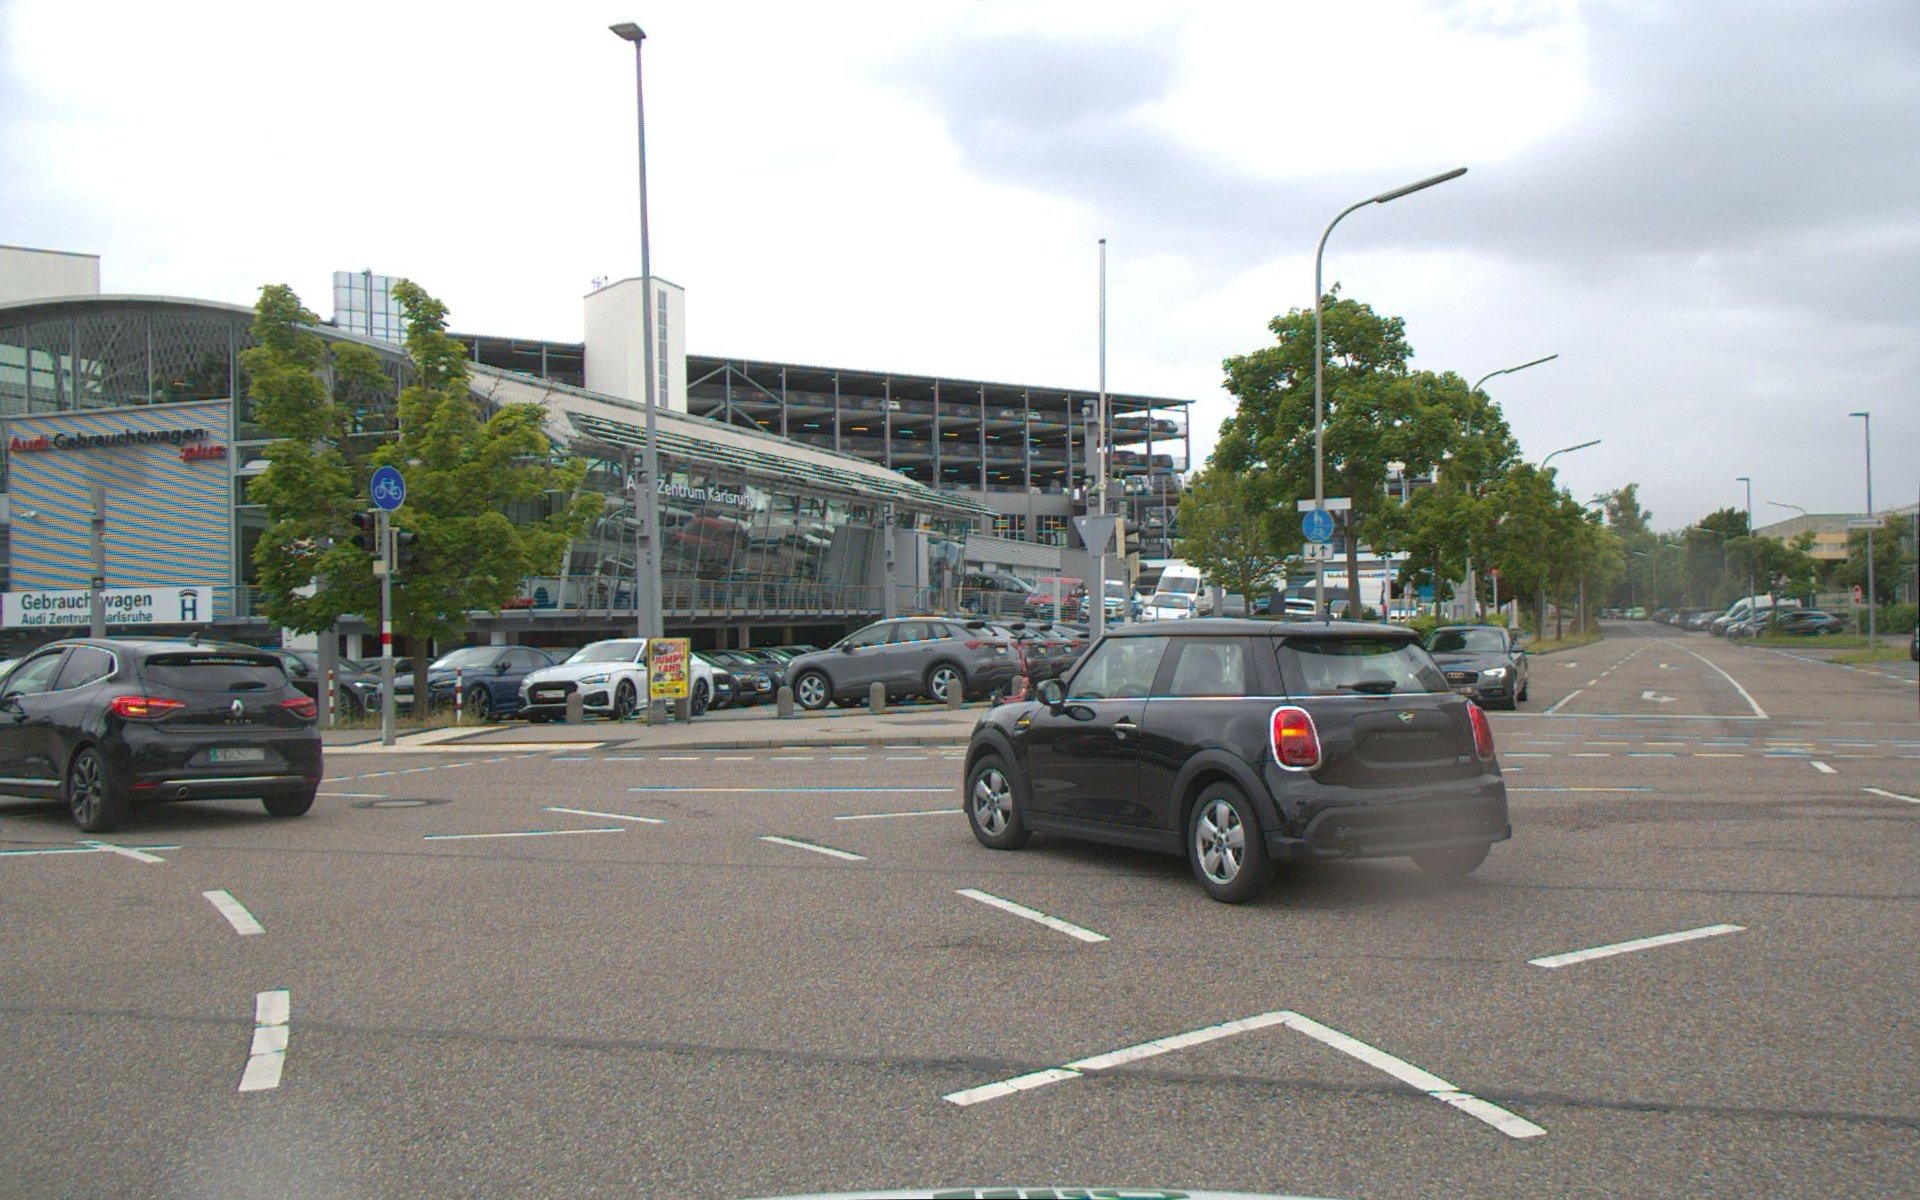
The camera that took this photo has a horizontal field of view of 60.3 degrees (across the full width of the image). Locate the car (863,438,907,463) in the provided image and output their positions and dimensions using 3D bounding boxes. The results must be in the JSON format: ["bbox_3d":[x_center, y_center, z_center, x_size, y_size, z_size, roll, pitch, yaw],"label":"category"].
[{"bbox_3d":[-6.537,-13.010,143.855,1.978,1.697,3.949,0,-1,-36],"label":"car"}]

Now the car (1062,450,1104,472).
[{"bbox_3d":[11.684,-13.250,157.716,1.978,1.697,3.949,0,-1,-36],"label":"car"}]

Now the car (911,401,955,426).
[{"bbox_3d":[-2.409,-16.545,146.997,1.978,1.697,3.949,0,-1,-36],"label":"car"}]

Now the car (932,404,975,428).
[{"bbox_3d":[-0.617,-16.495,148.431,1.978,1.697,3.949,0,-1,-36],"label":"car"}]

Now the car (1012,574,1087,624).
[{"bbox_3d":[3.561,-0.009,65.202,1.952,1.881,4.001,0,-1,18],"label":"car"}]

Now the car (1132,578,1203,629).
[{"bbox_3d":[7.972,0.144,63.248,1.952,1.855,4.001,0,-1,18],"label":"car"}]

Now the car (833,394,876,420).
[{"bbox_3d":[-9.101,-16.593,142.296,1.978,1.697,3.949,0,-1,-36],"label":"car"}]

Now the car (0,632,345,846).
[{"bbox_3d":[-6.833,1.009,13.478,3.926,1.460,1.753,-1,-1,41],"label":"car"}]

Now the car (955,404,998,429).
[{"bbox_3d":[1.493,-16.625,150.051,1.978,1.697,3.949,0,-1,-36],"label":"car"}]

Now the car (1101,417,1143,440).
[{"bbox_3d":[15.791,-16.686,161.129,1.978,1.697,3.949,0,-1,-36],"label":"car"}]

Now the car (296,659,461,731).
[{"bbox_3d":[-15.068,2.424,43.098,1.767,1.725,4.320,0,-1,18],"label":"car"}]

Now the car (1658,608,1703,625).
[{"bbox_3d":[83.033,1.898,190.638,4.686,1.924,2.144,0,-1,20],"label":"car"}]

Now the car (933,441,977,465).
[{"bbox_3d":[-0.470,-13.171,148.312,1.978,1.697,3.949,0,-1,-36],"label":"car"}]

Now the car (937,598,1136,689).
[{"bbox_3d":[1.964,1.121,42.139,4.672,2.049,2.001,-3,-2,16],"label":"car"}]

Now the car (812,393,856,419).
[{"bbox_3d":[-10.739,-16.491,140.754,1.978,1.697,3.949,0,-1,-36],"label":"car"}]

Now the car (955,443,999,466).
[{"bbox_3d":[1.525,-13.172,149.862,1.978,1.697,3.949,0,-1,-36],"label":"car"}]

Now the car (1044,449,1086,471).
[{"bbox_3d":[9.929,-13.216,156.319,1.978,1.697,3.949,0,-1,-36],"label":"car"}]

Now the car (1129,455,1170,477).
[{"bbox_3d":[18.681,-13.231,163.294,1.978,1.697,3.949,0,-1,-36],"label":"car"}]

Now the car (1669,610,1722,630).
[{"bbox_3d":[74.256,2.002,167.032,4.686,1.924,2.144,0,-1,20],"label":"car"}]

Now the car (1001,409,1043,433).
[{"bbox_3d":[5.729,-16.598,153.151,1.978,1.697,3.949,0,-1,-36],"label":"car"}]

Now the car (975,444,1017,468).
[{"bbox_3d":[3.275,-13.152,151.142,1.978,1.697,3.949,0,-1,-36],"label":"car"}]

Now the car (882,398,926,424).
[{"bbox_3d":[-4.912,-16.589,145.175,1.978,1.697,3.949,0,-1,-36],"label":"car"}]

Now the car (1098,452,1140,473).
[{"bbox_3d":[15.493,-13.361,160.991,1.978,1.697,3.949,0,-1,-36],"label":"car"}]

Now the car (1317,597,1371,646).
[{"bbox_3d":[16.765,0.949,72.167,1.952,2.049,4.001,0,-1,18],"label":"car"}]

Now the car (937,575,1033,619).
[{"bbox_3d":[1.113,-0.127,73.348,3.904,1.870,1.760,0,-1,20],"label":"car"}]

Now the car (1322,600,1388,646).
[{"bbox_3d":[14.743,0.872,61.536,1.952,1.646,4.000,0,-1,20],"label":"car"}]

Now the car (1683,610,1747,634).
[{"bbox_3d":[63.777,1.861,139.796,4.686,1.924,2.144,0,-1,20],"label":"car"}]

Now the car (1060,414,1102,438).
[{"bbox_3d":[11.542,-16.635,158.217,1.978,1.697,3.949,0,-1,-36],"label":"car"}]

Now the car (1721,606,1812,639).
[{"bbox_3d":[48.378,1.327,99.294,4.686,1.924,2.144,0,-1,20],"label":"car"}]

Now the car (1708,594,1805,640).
[{"bbox_3d":[56.192,1.224,116.877,5.990,3.171,2.134,0,-2,21],"label":"car"}]

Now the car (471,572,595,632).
[{"bbox_3d":[-12.790,0.088,49.767,1.781,1.691,4.002,0,-1,17],"label":"car"}]

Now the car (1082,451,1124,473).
[{"bbox_3d":[13.769,-13.328,159.586,1.978,1.697,3.949,0,-1,-36],"label":"car"}]

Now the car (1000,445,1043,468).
[{"bbox_3d":[5.689,-13.223,152.924,1.978,1.697,3.949,0,-1,-36],"label":"car"}]

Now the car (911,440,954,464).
[{"bbox_3d":[-2.470,-13.158,146.840,1.978,1.697,3.949,0,-1,-36],"label":"car"}]

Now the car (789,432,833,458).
[{"bbox_3d":[-12.578,-13.004,139.082,1.978,1.697,3.949,0,-1,-36],"label":"car"}]

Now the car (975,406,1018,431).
[{"bbox_3d":[3.332,-16.571,151.262,1.978,1.697,3.949,0,-1,-36],"label":"car"}]

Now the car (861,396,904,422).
[{"bbox_3d":[-6.761,-16.636,143.920,1.978,1.697,3.949,0,-1,-36],"label":"car"}]

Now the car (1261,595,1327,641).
[{"bbox_3d":[12.448,0.681,61.562,1.952,1.646,4.001,0,-1,18],"label":"car"}]

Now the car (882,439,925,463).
[{"bbox_3d":[-4.957,-13.095,145.455,1.978,1.697,3.949,0,-1,-36],"label":"car"}]

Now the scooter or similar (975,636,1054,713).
[{"bbox_3d":[0.938,1.247,28.094,0.547,1.240,1.554,1,1,35],"label":"scooter or similar"}]

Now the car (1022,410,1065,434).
[{"bbox_3d":[7.815,-16.624,154.779,1.978,1.697,3.949,0,-1,-36],"label":"car"}]
